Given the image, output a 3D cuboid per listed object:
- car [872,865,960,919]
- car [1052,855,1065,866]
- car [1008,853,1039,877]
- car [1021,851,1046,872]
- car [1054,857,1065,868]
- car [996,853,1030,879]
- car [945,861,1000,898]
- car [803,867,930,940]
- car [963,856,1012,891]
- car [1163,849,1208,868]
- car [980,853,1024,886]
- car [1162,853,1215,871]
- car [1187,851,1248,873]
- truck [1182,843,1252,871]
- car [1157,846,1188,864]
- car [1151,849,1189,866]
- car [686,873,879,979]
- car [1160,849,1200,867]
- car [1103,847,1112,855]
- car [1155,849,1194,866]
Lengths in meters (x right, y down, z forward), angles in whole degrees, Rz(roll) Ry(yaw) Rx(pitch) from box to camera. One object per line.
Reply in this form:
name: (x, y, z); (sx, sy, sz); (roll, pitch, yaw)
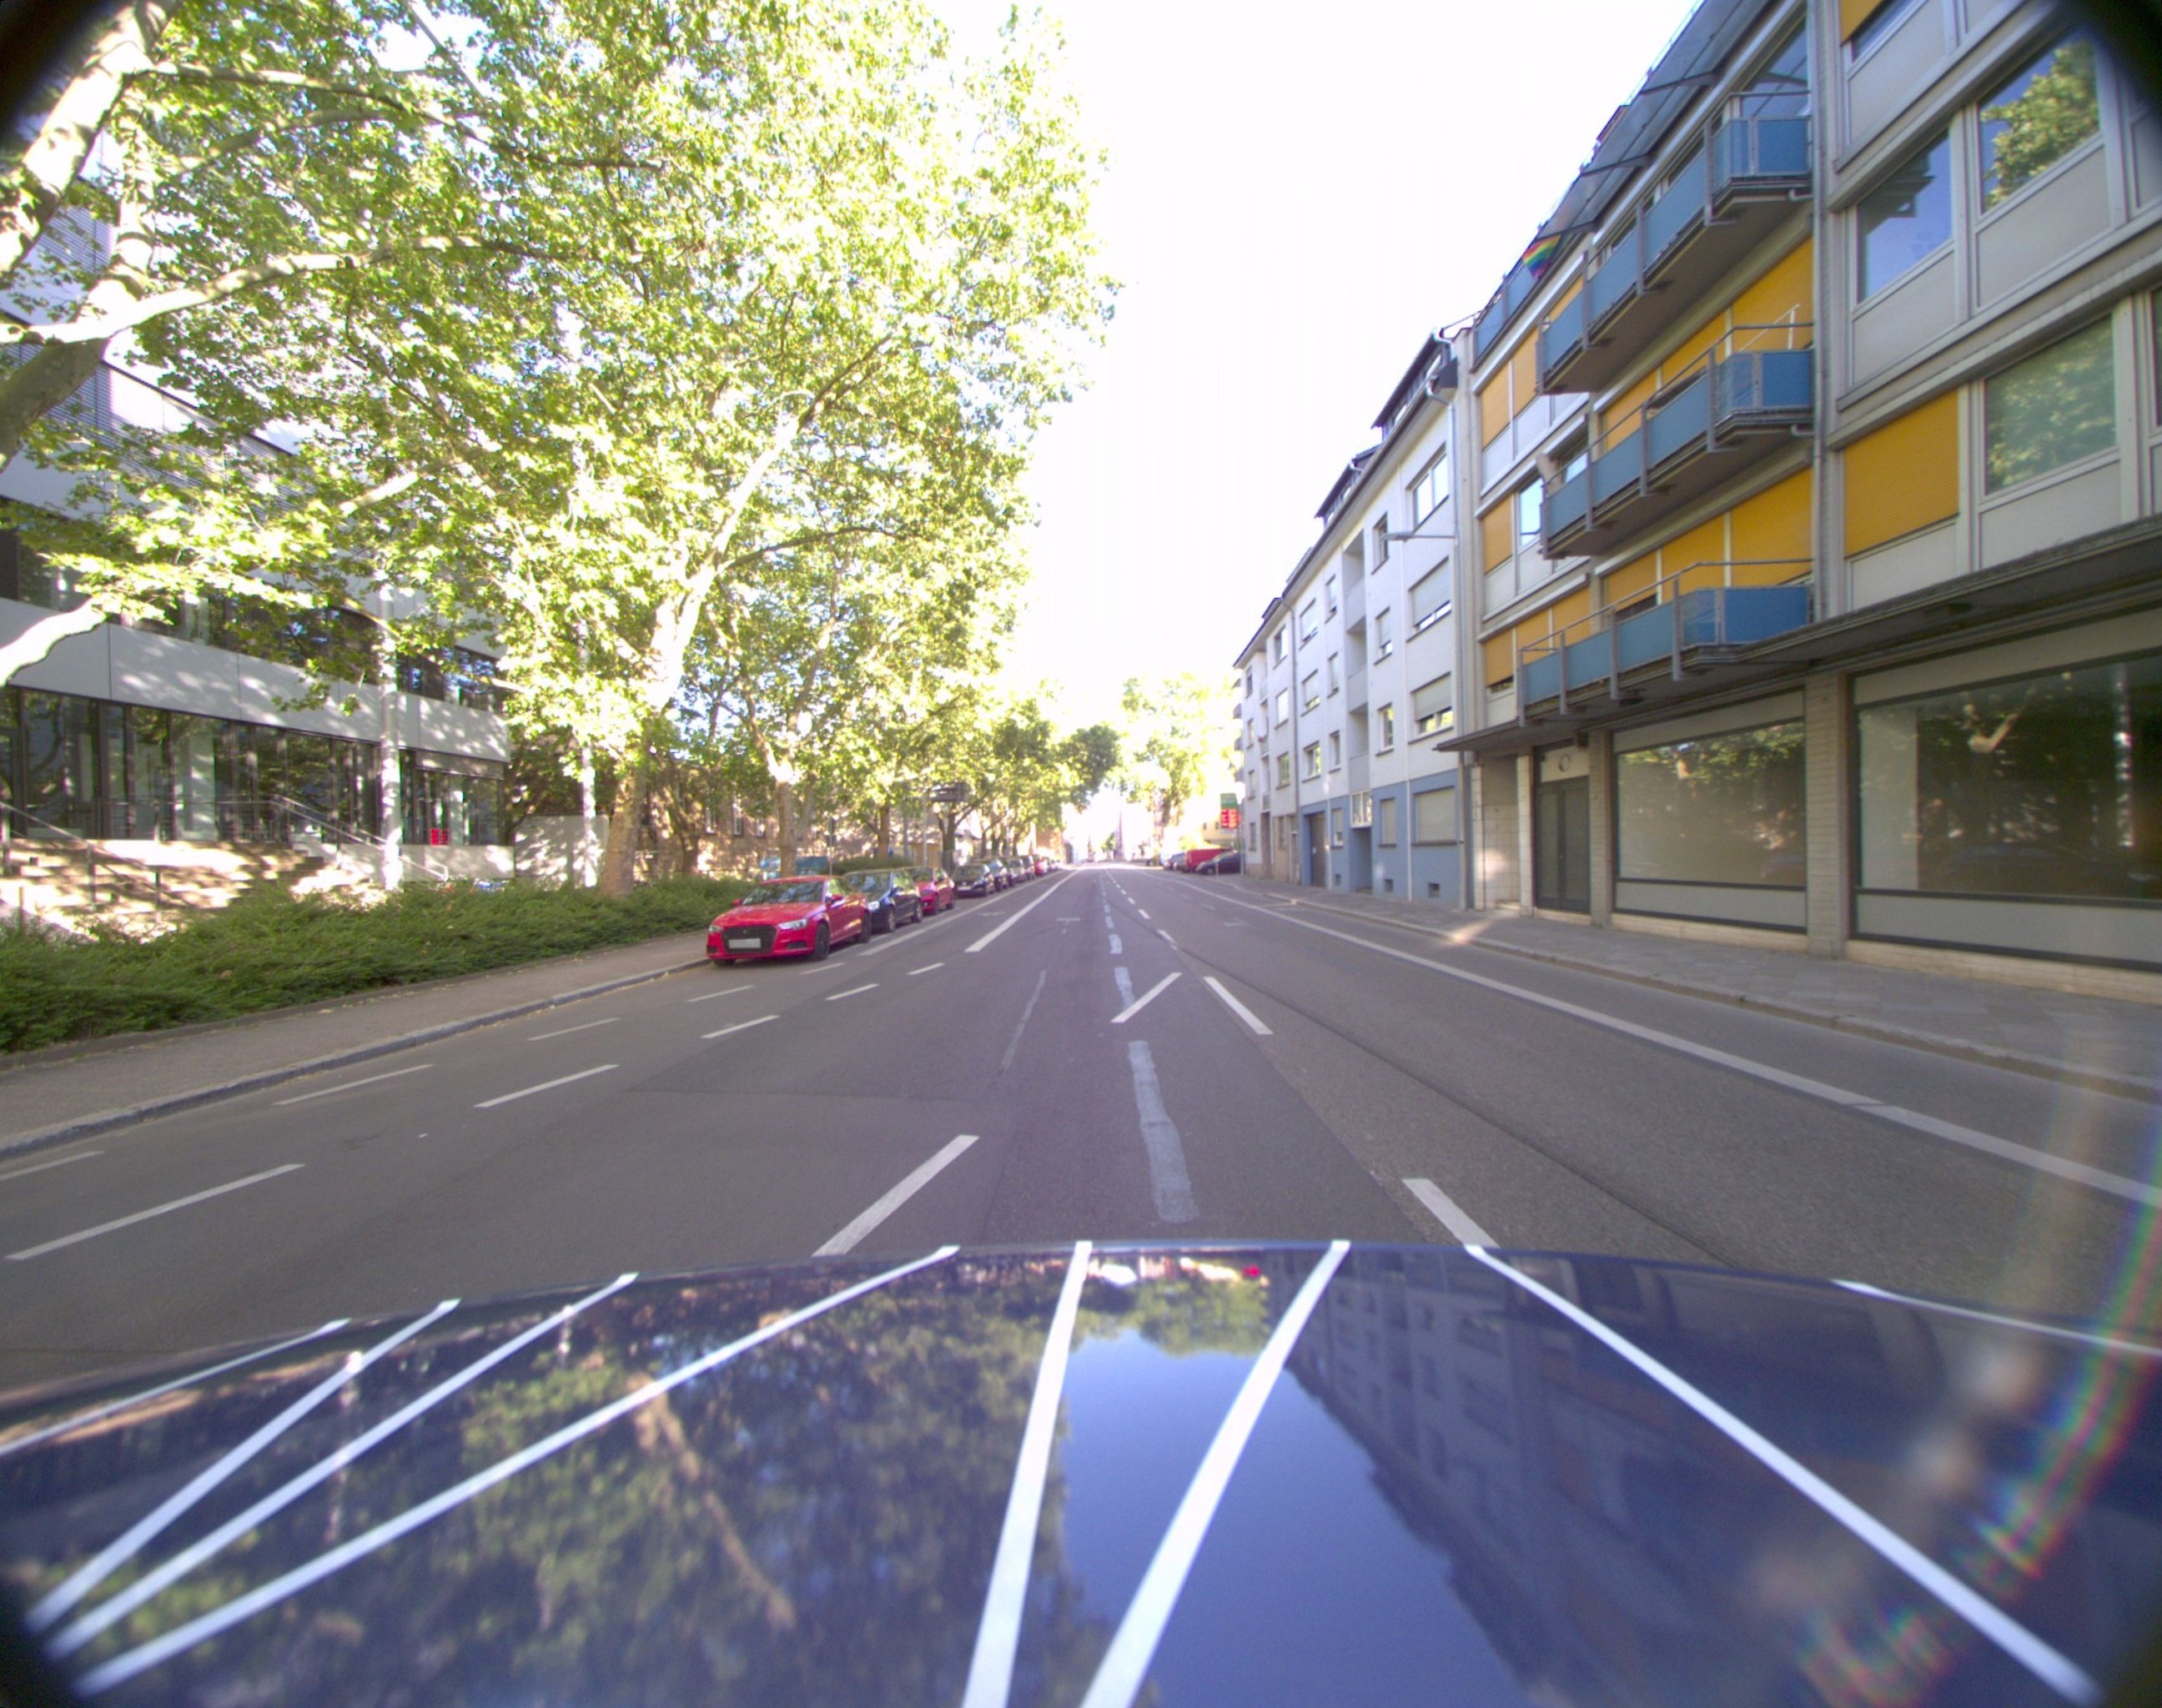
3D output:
car: (-5.001, 1.108, 23.604); (1.790, 1.429, 4.000); (-1, 0, 1)
car: (-3.022, 0.825, 102.816); (1.707, 1.459, 3.809); (-1, 0, 0)
car: (-4.168, 0.755, 55.508); (1.831, 1.608, 4.177); (-1, 0, 1)
car: (-4.106, 0.620, 66.178); (1.876, 1.685, 4.166); (-1, 0, 1)
car: (-2.626, 1.034, 92.386); (1.300, 1.220, 3.241); (-1, 0, 0)
car: (-4.439, 0.743, 50.452); (1.798, 1.608, 4.075); (-1, 0, 1)
car: (-4.676, 1.086, 33.262); (1.745, 1.430, 4.000); (-1, 0, 1)
car: (-5.053, 1.116, 18.472); (1.813, 1.449, 4.000); (-1, 0, 2)
car: (-4.622, 0.924, 38.208); (1.848, 1.572, 4.232); (-2, 0, 1)
car: (10.085, 0.420, 73.361); (3.998, 1.618, 1.702); (-2, 1, -5)
car: (-4.544, 0.872, 44.191); (1.998, 1.715, 4.262); (-2, 1, 1)
car: (8.856, 0.651, 62.800); (4.033, 1.265, 1.906); (-2, 1, -1)
car: (9.805, 0.537, 54.839); (3.997, 1.385, 1.781); (-2, 1, -1)
truck: (10.729, 0.244, 60.094); (5.088, 2.009, 2.000); (-2, 1, 0)
car: (10.232, 0.115, 85.246); (3.267, 1.927, 1.693); (-2, 1, 2)
car: (9.488, 0.381, 80.858); (3.728, 1.579, 1.743); (-2, 1, -5)
car: (-5.104, 1.147, 13.683); (1.775, 1.416, 4.173); (-3, 0, 0)
car: (9.882, 0.388, 75.908); (3.658, 1.578, 1.659); (-2, 1, -5)
car: (6.771, -0.785, 193.460); (1.998, 2.002, 3.999); (-2, 1, 1)
car: (9.617, 0.385, 78.567); (3.703, 1.573, 1.718); (-2, 1, -5)
